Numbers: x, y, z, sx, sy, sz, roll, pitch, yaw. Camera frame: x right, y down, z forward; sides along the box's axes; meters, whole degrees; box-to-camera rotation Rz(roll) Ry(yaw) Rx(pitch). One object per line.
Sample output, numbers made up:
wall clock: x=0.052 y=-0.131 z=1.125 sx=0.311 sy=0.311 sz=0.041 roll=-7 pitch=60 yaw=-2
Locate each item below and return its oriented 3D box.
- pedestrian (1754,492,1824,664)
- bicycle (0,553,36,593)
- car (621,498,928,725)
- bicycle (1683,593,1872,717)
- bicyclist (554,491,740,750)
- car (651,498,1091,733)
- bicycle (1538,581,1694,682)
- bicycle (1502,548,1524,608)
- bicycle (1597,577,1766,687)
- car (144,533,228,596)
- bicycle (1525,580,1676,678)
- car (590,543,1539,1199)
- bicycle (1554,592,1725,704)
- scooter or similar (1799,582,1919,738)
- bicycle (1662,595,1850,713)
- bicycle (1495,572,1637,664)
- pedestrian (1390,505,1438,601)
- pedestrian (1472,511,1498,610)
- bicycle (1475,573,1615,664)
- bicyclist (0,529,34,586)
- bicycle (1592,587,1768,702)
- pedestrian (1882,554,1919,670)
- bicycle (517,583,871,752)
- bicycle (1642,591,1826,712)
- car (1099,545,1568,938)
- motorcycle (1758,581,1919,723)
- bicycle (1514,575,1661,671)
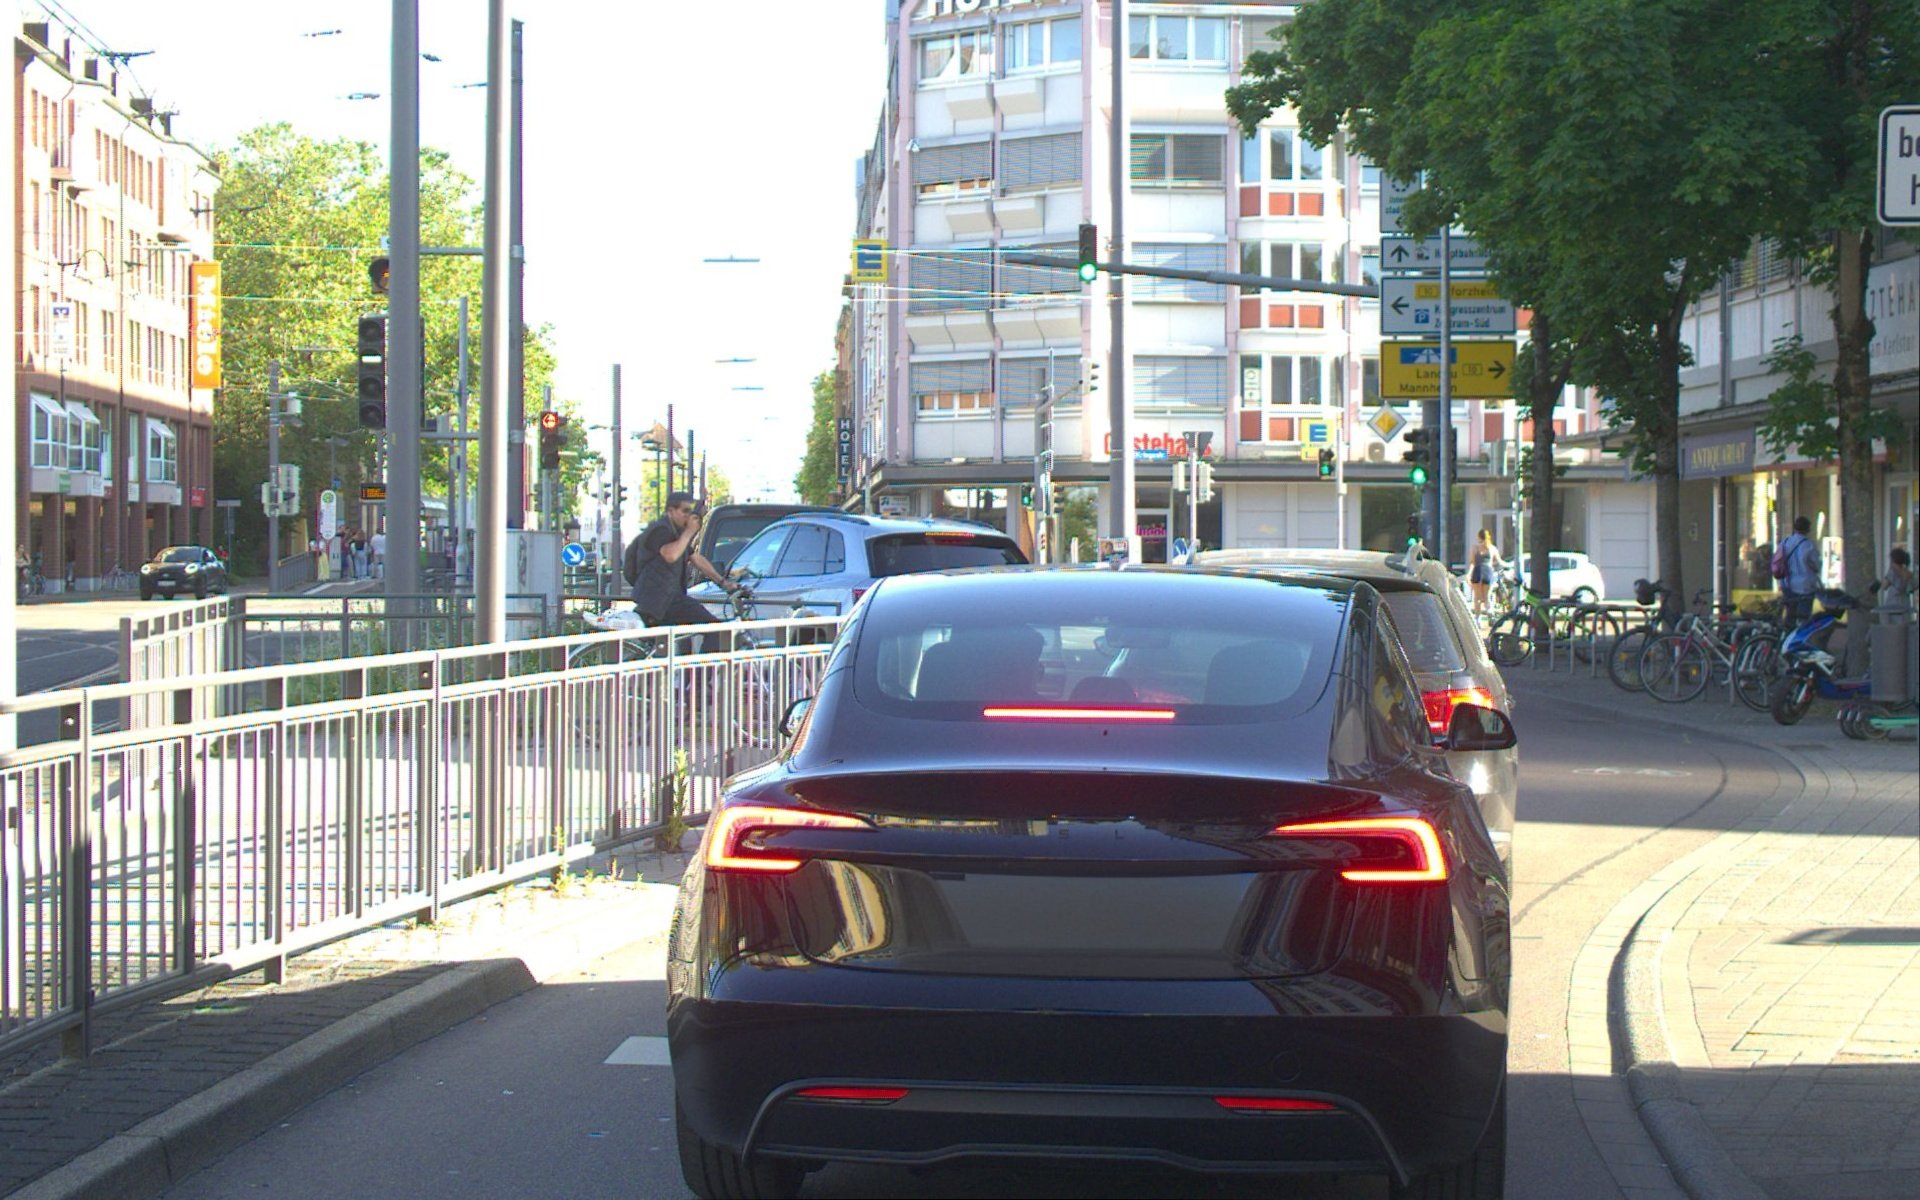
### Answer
pedestrian: x=9.829 y=-0.262 z=40.772 sx=0.662 sy=2.007 sz=0.579 roll=1 pitch=0 yaw=2
bicycle: x=-26.211 y=-0.752 z=95.345 sx=0.529 sy=1.085 sz=2.224 roll=1 pitch=1 yaw=1
car: x=-1.833 y=0.077 z=32.630 sx=1.993 sy=2.007 sz=4.001 roll=0 pitch=1 yaw=-17
bicycle: x=7.378 y=0.497 z=31.031 sx=1.649 sy=1.095 sz=0.350 roll=1 pitch=0 yaw=-10
bicyclist: x=-2.018 y=0.120 z=22.153 sx=0.758 sy=1.623 sz=0.978 roll=0 pitch=1 yaw=-39
car: x=-0.781 y=0.085 z=26.477 sx=1.883 sy=1.656 sz=4.159 roll=1 pitch=1 yaw=-25
bicycle: x=7.304 y=0.343 z=38.305 sx=1.650 sy=1.095 sz=0.350 roll=1 pitch=0 yaw=1
bicycle: x=9.607 y=-0.379 z=59.729 sx=0.332 sy=1.030 sz=1.256 roll=1 pitch=0 yaw=8
bicycle: x=7.414 y=0.327 z=35.352 sx=1.650 sy=1.095 sz=0.350 roll=1 pitch=0 yaw=1
car: x=-22.140 y=-1.018 z=98.415 sx=1.697 sy=1.725 sz=3.707 roll=1 pitch=1 yaw=-3
bicycle: x=7.324 y=0.330 z=39.331 sx=1.650 sy=1.095 sz=0.350 roll=1 pitch=0 yaw=1
car: x=0.346 y=0.608 z=8.680 sx=1.829 sy=1.450 sz=3.999 roll=1 pitch=1 yaw=4
bicycle: x=6.775 y=0.479 z=34.284 sx=1.649 sy=1.095 sz=0.350 roll=1 pitch=0 yaw=-10
scooter or similar: x=7.552 y=0.474 z=27.193 sx=1.644 sy=1.211 sz=0.644 roll=1 pitch=0 yaw=30
bicycle: x=7.281 y=0.494 z=31.453 sx=1.649 sy=1.057 sz=0.350 roll=1 pitch=0 yaw=-10
bicycle: x=7.294 y=0.212 z=41.390 sx=1.650 sy=1.095 sz=0.350 roll=0 pitch=1 yaw=1
pedestrian: x=7.917 y=-0.812 z=59.990 sx=0.699 sy=1.656 sz=0.777 roll=1 pitch=0 yaw=-1
pedestrian: x=9.184 y=-0.690 z=60.155 sx=0.402 sy=1.704 sz=0.527 roll=1 pitch=0 yaw=7
bicycle: x=7.226 y=0.221 z=42.484 sx=1.650 sy=1.095 sz=0.350 roll=1 pitch=0 yaw=1
bicyclist: x=-26.196 y=-1.179 z=95.346 sx=0.784 sy=1.558 sz=0.746 roll=1 pitch=0 yaw=2
bicycle: x=6.995 y=0.434 z=33.404 sx=1.649 sy=1.095 sz=0.350 roll=1 pitch=0 yaw=-10
pedestrian: x=11.017 y=0.142 z=40.088 sx=0.389 sy=1.339 sz=0.513 roll=1 pitch=0 yaw=2
bicycle: x=-1.716 y=0.427 z=22.452 sx=2.329 sy=1.050 sz=0.631 roll=0 pitch=1 yaw=-38
bicycle: x=7.176 y=0.477 z=31.877 sx=1.649 sy=1.095 sz=0.350 roll=1 pitch=0 yaw=-10
car: x=1.619 y=0.502 z=15.055 sx=1.751 sy=1.449 sz=3.999 roll=1 pitch=1 yaw=6
motorcycle: x=7.710 y=0.445 z=29.215 sx=1.707 sy=1.169 sz=0.541 roll=1 pitch=0 yaw=-2
bicycle: x=7.357 y=0.269 z=40.344 sx=1.650 sy=1.095 sz=0.350 roll=1 pitch=0 yaw=1
